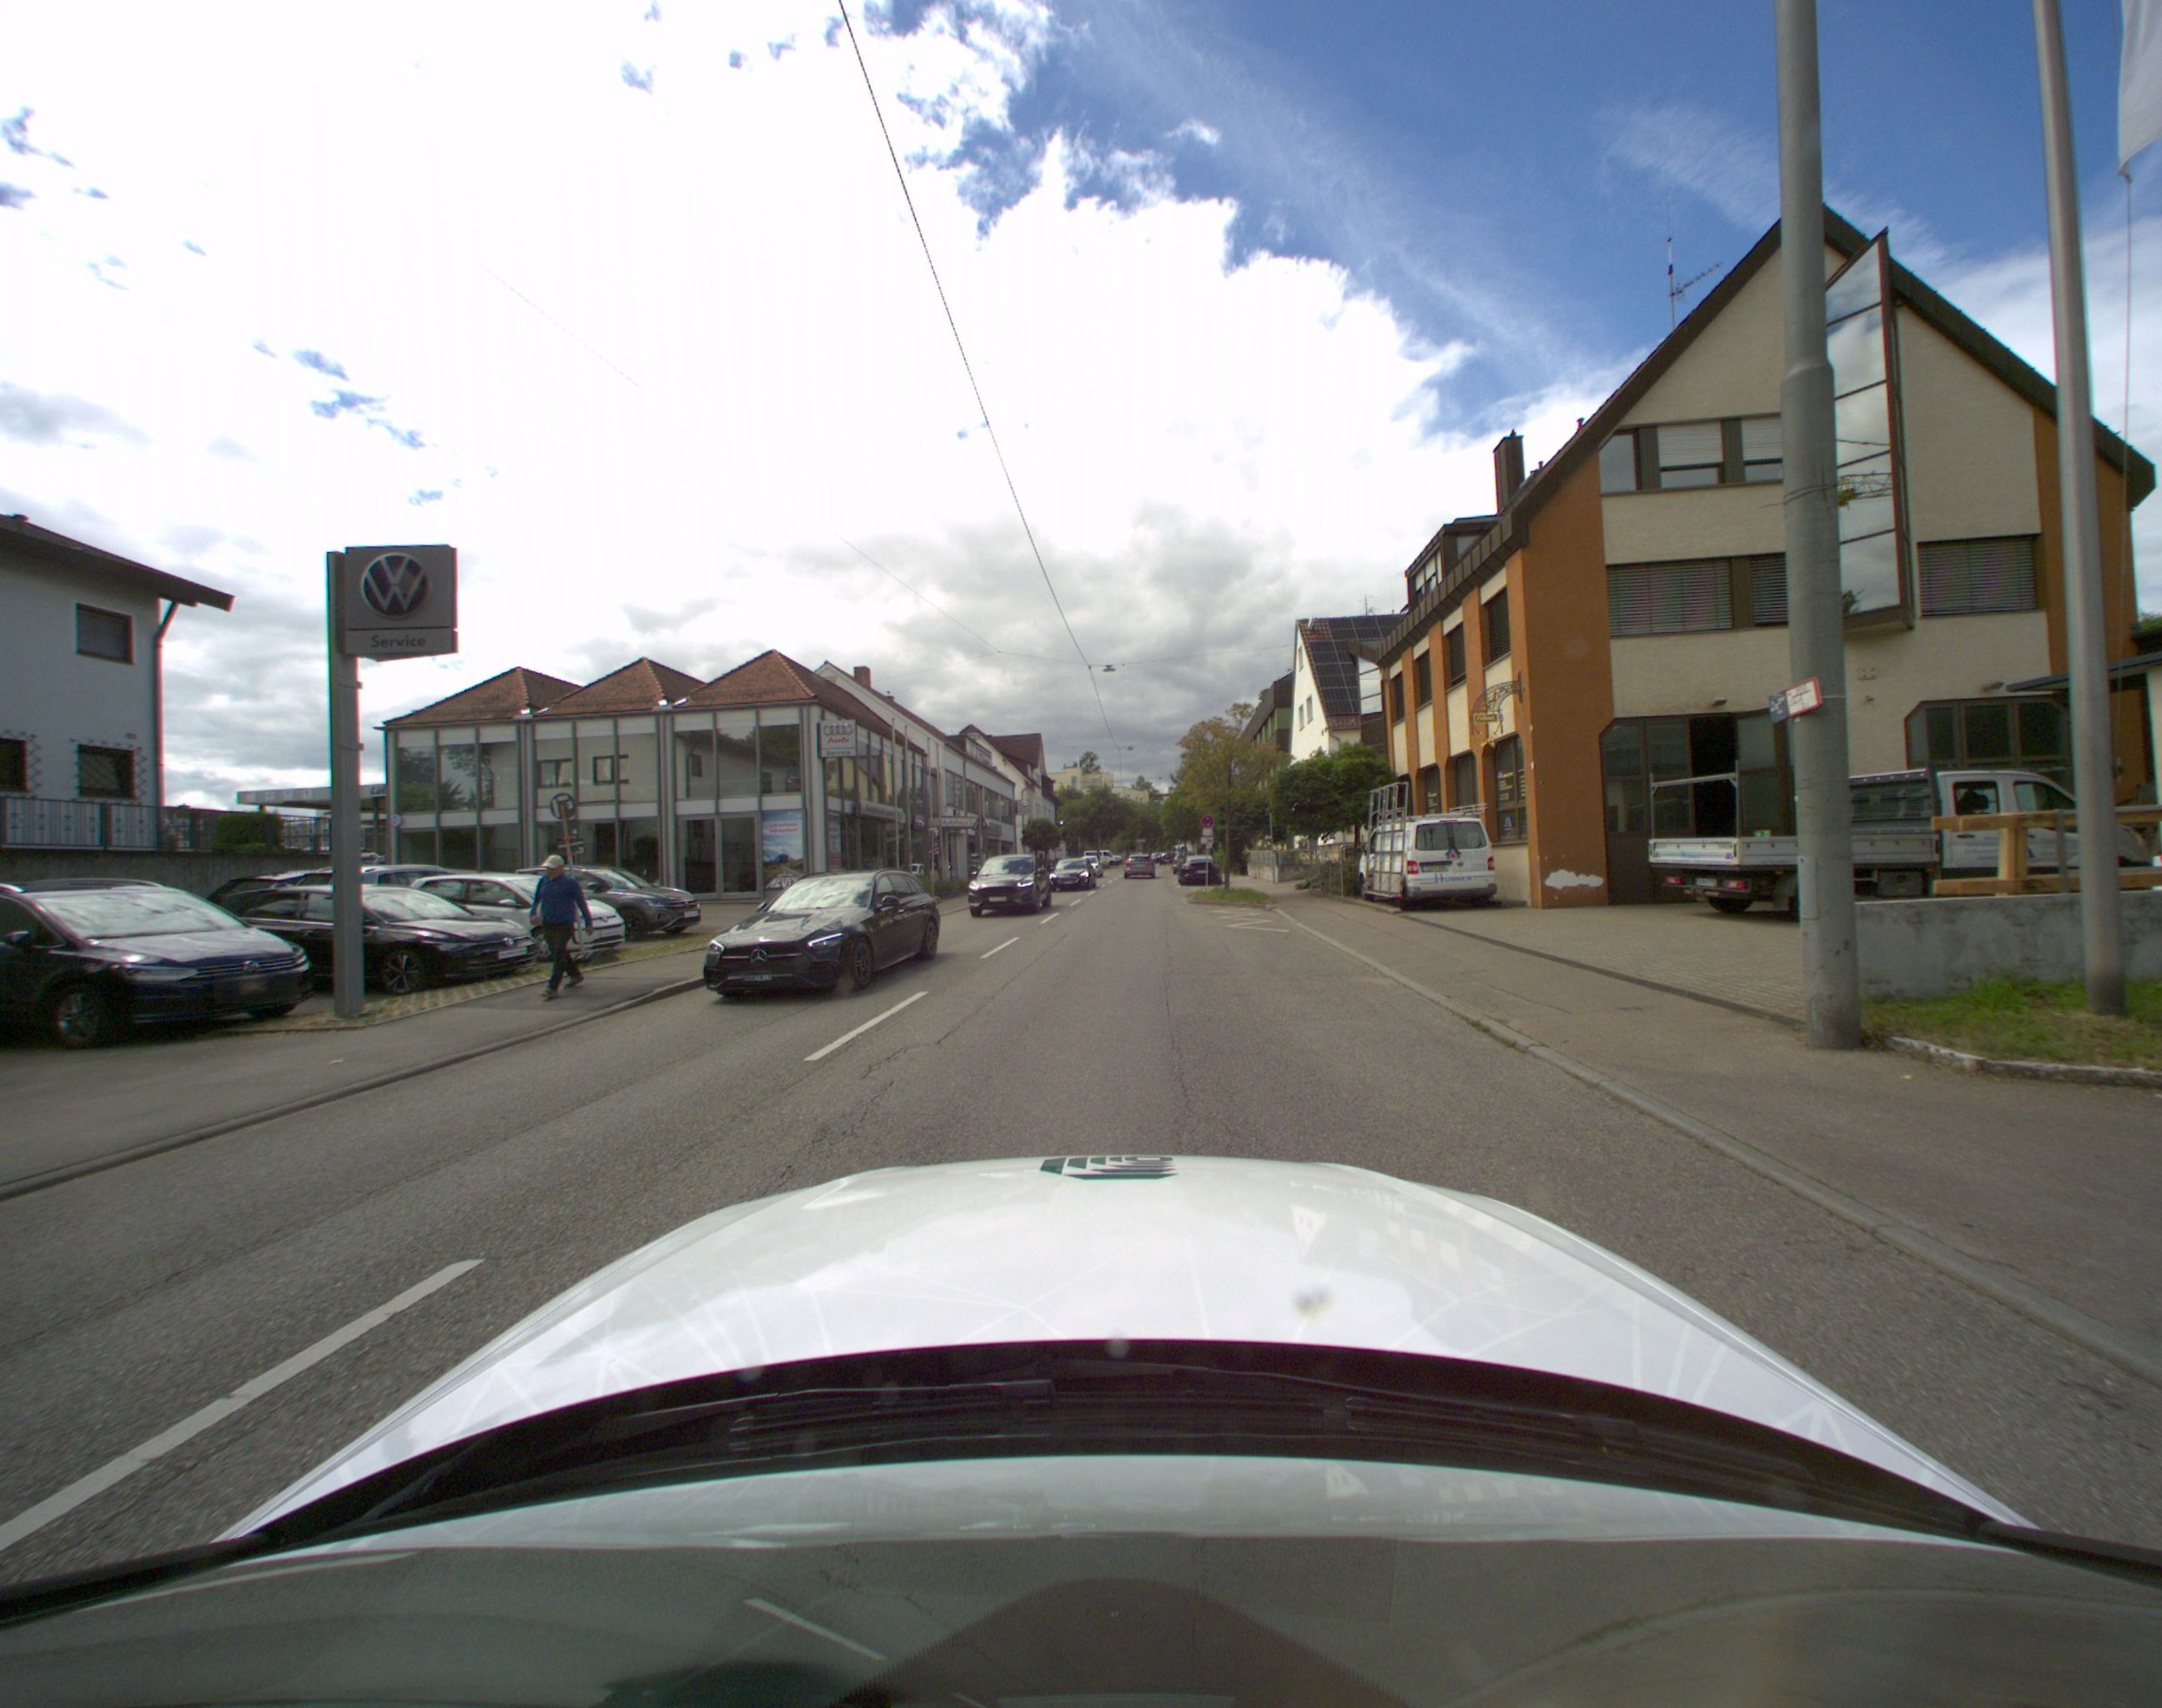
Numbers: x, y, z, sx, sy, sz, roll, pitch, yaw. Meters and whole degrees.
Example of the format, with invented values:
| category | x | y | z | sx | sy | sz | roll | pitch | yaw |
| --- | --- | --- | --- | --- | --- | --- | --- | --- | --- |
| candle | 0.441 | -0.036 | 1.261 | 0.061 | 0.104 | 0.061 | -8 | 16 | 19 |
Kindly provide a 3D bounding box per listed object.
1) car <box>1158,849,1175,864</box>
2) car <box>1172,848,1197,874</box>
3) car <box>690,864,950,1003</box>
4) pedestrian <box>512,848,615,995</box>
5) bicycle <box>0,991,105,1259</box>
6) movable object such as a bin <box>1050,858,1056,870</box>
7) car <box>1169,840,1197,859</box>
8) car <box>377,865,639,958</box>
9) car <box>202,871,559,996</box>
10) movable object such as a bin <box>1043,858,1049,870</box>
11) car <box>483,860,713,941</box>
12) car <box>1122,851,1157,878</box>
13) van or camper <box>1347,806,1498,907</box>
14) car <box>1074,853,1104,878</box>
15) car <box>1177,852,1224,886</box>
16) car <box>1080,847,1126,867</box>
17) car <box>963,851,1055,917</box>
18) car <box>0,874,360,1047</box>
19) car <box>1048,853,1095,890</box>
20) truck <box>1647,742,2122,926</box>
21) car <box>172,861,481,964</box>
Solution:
| category | x | y | z | sx | sy | sz | roll | pitch | yaw |
| --- | --- | --- | --- | --- | --- | --- | --- | --- | --- |
| car | 9.026 | 0.312 | 86.105 | 1.608 | 1.523 | 3.572 | -3 | -1 | 3 |
| car | 7.429 | 0.486 | 58.447 | 1.681 | 1.666 | 4.471 | -3 | 1 | 7 |
| car | -3.325 | 0.933 | 11.460 | 1.731 | 1.429 | 4.531 | -3 | 0 | 6 |
| pedestrian | -6.403 | 0.809 | 10.111 | 0.679 | 1.737 | 0.869 | -1 | -1 | 5 |
| bicycle | -4.913 | 1.205 | 2.924 | 0.452 | 1.087 | 1.871 | -4 | 0 | 2 |
| movable object such as a bin | -2.641 | 0.934 | 77.148 | 0.562 | 1.101 | 0.563 | 0 | -1 | 1 |
| car | 14.334 | -0.668 | 114.356 | 2.043 | 2.353 | 5.215 | -5 | 0 | 28 |
| car | -10.306 | 0.993 | 14.809 | 3.723 | 1.560 | 1.536 | 0 | 0 | 3 |
| car | -10.081 | 1.104 | 11.916 | 3.723 | 1.518 | 1.731 | -3 | 0 | 3 |
| movable object such as a bin | -3.330 | 0.966 | 77.201 | 0.562 | 1.101 | 0.563 | 0 | -1 | 1 |
| car | -10.292 | 0.950 | 17.528 | 3.996 | 1.630 | 1.656 | 0 | 0 | 3 |
| car | 3.622 | 0.688 | 50.021 | 1.946 | 1.523 | 4.336 | -2 | -1 | 6 |
| van or camper | 7.713 | 0.087 | 18.905 | 1.858 | 2.032 | 4.553 | -1 | -1 | 4 |
| car | 0.588 | 0.787 | 56.337 | 1.682 | 1.579 | 3.804 | -3 | -1 | 4 |
| car | 5.690 | 0.690 | 39.220 | 1.975 | 1.448 | 4.758 | -3 | -1 | 5 |
| car | 2.790 | 0.373 | 102.293 | 5.167 | 1.993 | 2.120 | -5 | -1 | 22 |
| car | -1.950 | 0.783 | 23.332 | 1.822 | 1.630 | 4.327 | -3 | 0 | 5 |
| car | -10.994 | 1.107 | 9.123 | 4.268 | 1.641 | 1.907 | -1 | 0 | 5 |
| car | -0.368 | 0.787 | 37.048 | 1.824 | 1.523 | 4.173 | -3 | -1 | 3 |
| truck | 12.453 | -0.291 | 13.030 | 5.063 | 2.457 | 2.361 | -2 | 1 | 5 |
| car | -14.433 | 1.010 | 15.999 | 1.798 | 1.585 | 4.334 | 1 | 1 | 5 |
